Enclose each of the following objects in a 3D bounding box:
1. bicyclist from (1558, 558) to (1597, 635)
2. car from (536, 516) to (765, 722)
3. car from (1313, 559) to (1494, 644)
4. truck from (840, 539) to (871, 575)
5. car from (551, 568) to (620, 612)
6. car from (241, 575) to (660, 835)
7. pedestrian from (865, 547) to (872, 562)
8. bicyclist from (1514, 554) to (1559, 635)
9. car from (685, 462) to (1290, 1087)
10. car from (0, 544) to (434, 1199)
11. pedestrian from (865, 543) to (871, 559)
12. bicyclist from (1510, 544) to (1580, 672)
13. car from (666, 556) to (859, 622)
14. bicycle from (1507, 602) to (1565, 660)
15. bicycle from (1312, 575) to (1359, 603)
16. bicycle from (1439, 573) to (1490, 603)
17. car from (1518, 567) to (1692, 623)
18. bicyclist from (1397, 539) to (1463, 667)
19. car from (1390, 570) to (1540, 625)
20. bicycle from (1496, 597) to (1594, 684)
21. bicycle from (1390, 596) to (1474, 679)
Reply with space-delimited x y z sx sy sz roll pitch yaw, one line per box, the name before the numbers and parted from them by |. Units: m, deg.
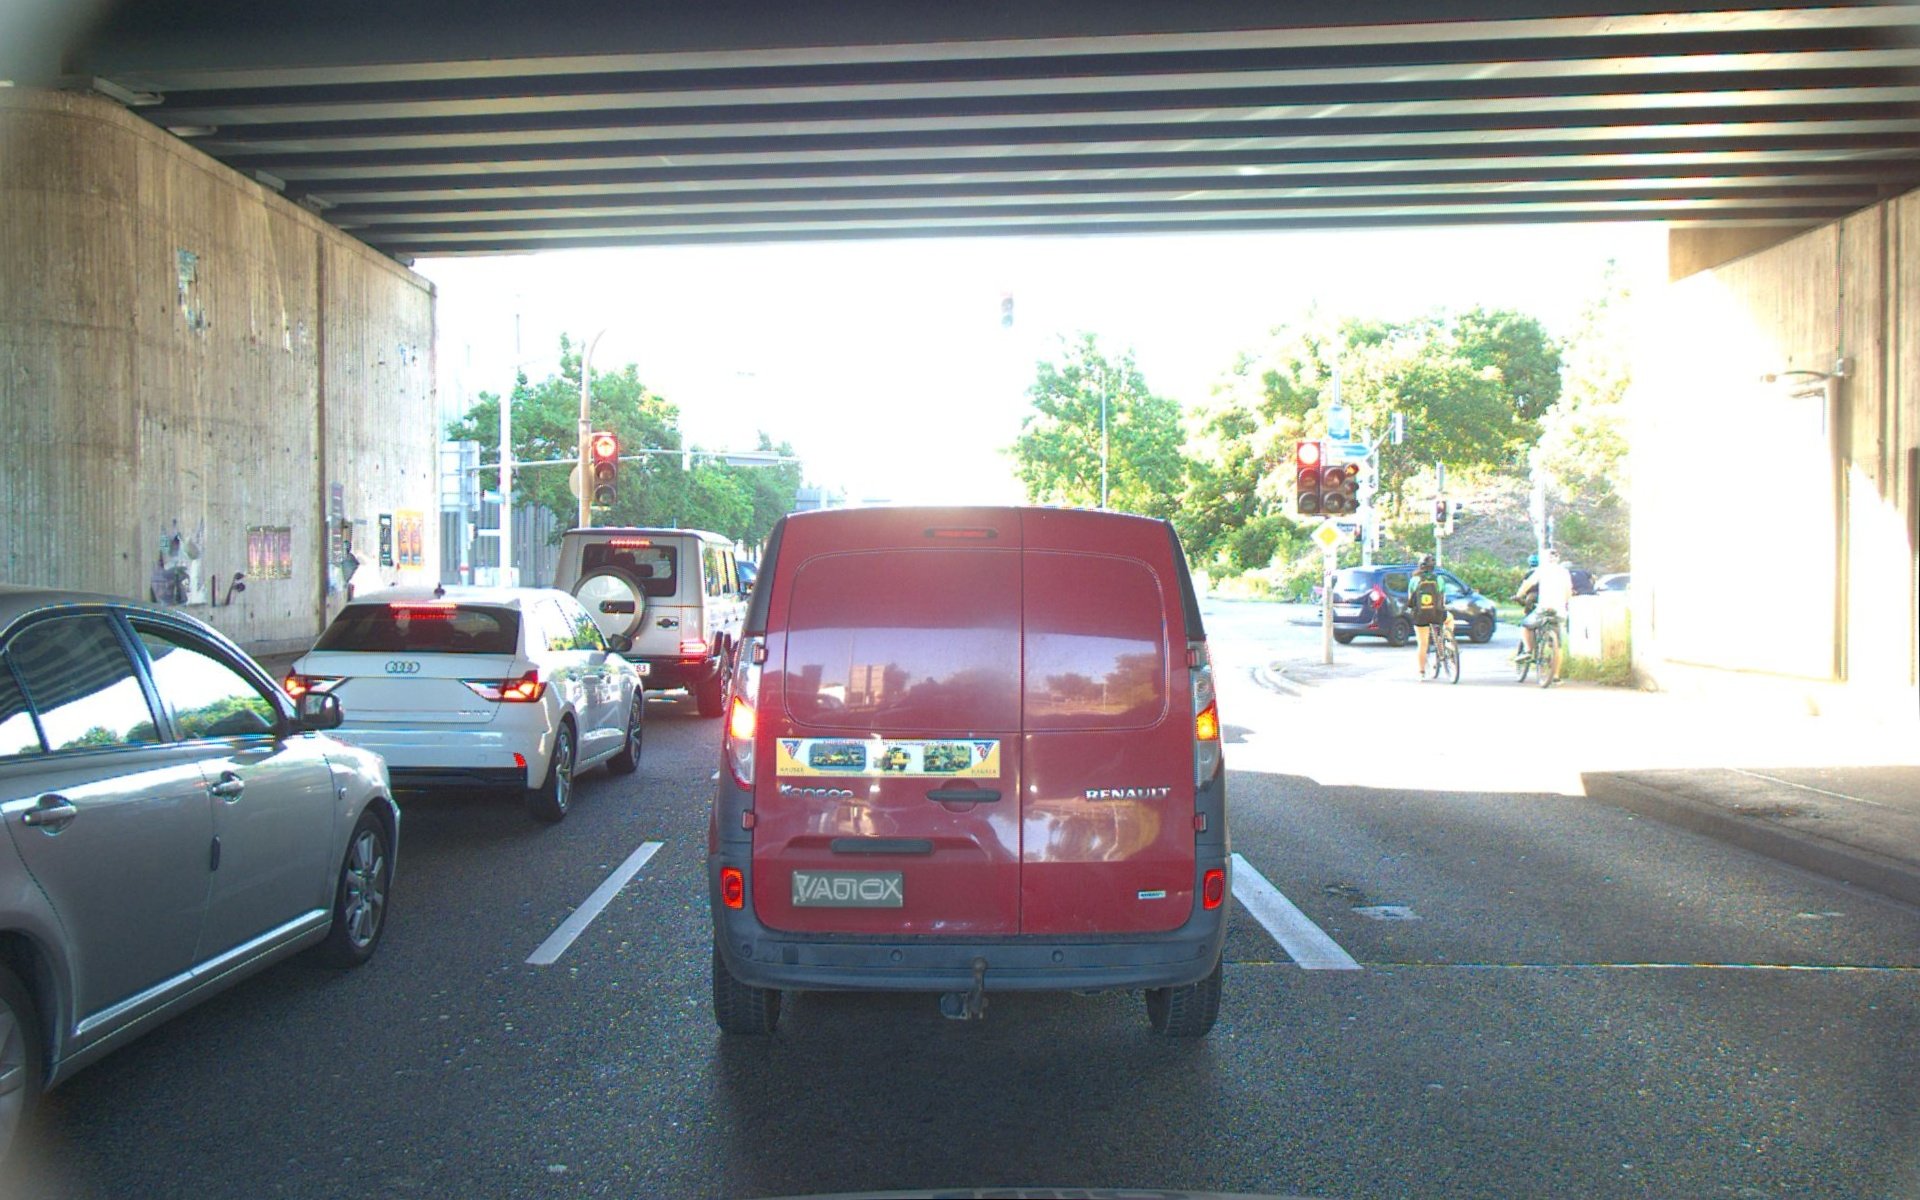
bicyclist | 12.148 -0.075 32.538 0.635 1.506 0.619 1 1 14
car | -3.357 0.202 18.801 1.764 2.023 4.588 1 0 -1
car | 9.531 0.022 35.462 3.938 1.736 1.702 0 0 -37
truck | -9.622 -3.936 152.820 2.360 3.079 6.657 -2 1 0
car | -16.113 -0.439 71.379 1.787 1.768 4.630 -2 1 1
car | -3.255 0.577 11.343 1.777 1.463 3.730 1 1 -1
pedestrian | -12.109 -6.034 218.999 0.921 2.049 0.694 1 -1 3
bicyclist | 10.831 -0.104 31.084 0.651 1.500 0.751 1 -1 9
car | 0.058 0.529 6.910 1.768 1.826 3.999 1 0 -1
car | -3.010 0.623 4.844 1.698 1.506 4.317 0 0 -2
pedestrian | -11.557 -6.152 208.155 0.724 2.049 0.638 1 -1 3
bicyclist | 7.342 0.100 20.792 0.580 1.575 0.769 1 -1 -1
car | -4.930 -0.260 41.566 4.510 1.540 1.805 1 0 -35
bicycle | 10.827 0.578 31.155 0.657 1.041 2.057 1 0 9
bicycle | 14.208 -0.414 62.594 1.707 1.041 0.594 1 0 8
bicycle | 18.358 -0.433 60.211 1.707 1.041 0.594 1 0 10
car | 18.980 -0.150 48.830 4.451 1.540 1.829 1 0 6
bicyclist | 6.200 0.044 21.854 0.580 1.642 0.942 1 0 -1
car | 13.884 -0.062 45.620 3.667 1.473 1.696 0 0 4
bicycle | 7.327 0.490 20.780 0.579 1.041 1.750 1 0 -1
bicycle | 6.209 0.475 21.843 0.579 1.041 1.750 1 0 -1
